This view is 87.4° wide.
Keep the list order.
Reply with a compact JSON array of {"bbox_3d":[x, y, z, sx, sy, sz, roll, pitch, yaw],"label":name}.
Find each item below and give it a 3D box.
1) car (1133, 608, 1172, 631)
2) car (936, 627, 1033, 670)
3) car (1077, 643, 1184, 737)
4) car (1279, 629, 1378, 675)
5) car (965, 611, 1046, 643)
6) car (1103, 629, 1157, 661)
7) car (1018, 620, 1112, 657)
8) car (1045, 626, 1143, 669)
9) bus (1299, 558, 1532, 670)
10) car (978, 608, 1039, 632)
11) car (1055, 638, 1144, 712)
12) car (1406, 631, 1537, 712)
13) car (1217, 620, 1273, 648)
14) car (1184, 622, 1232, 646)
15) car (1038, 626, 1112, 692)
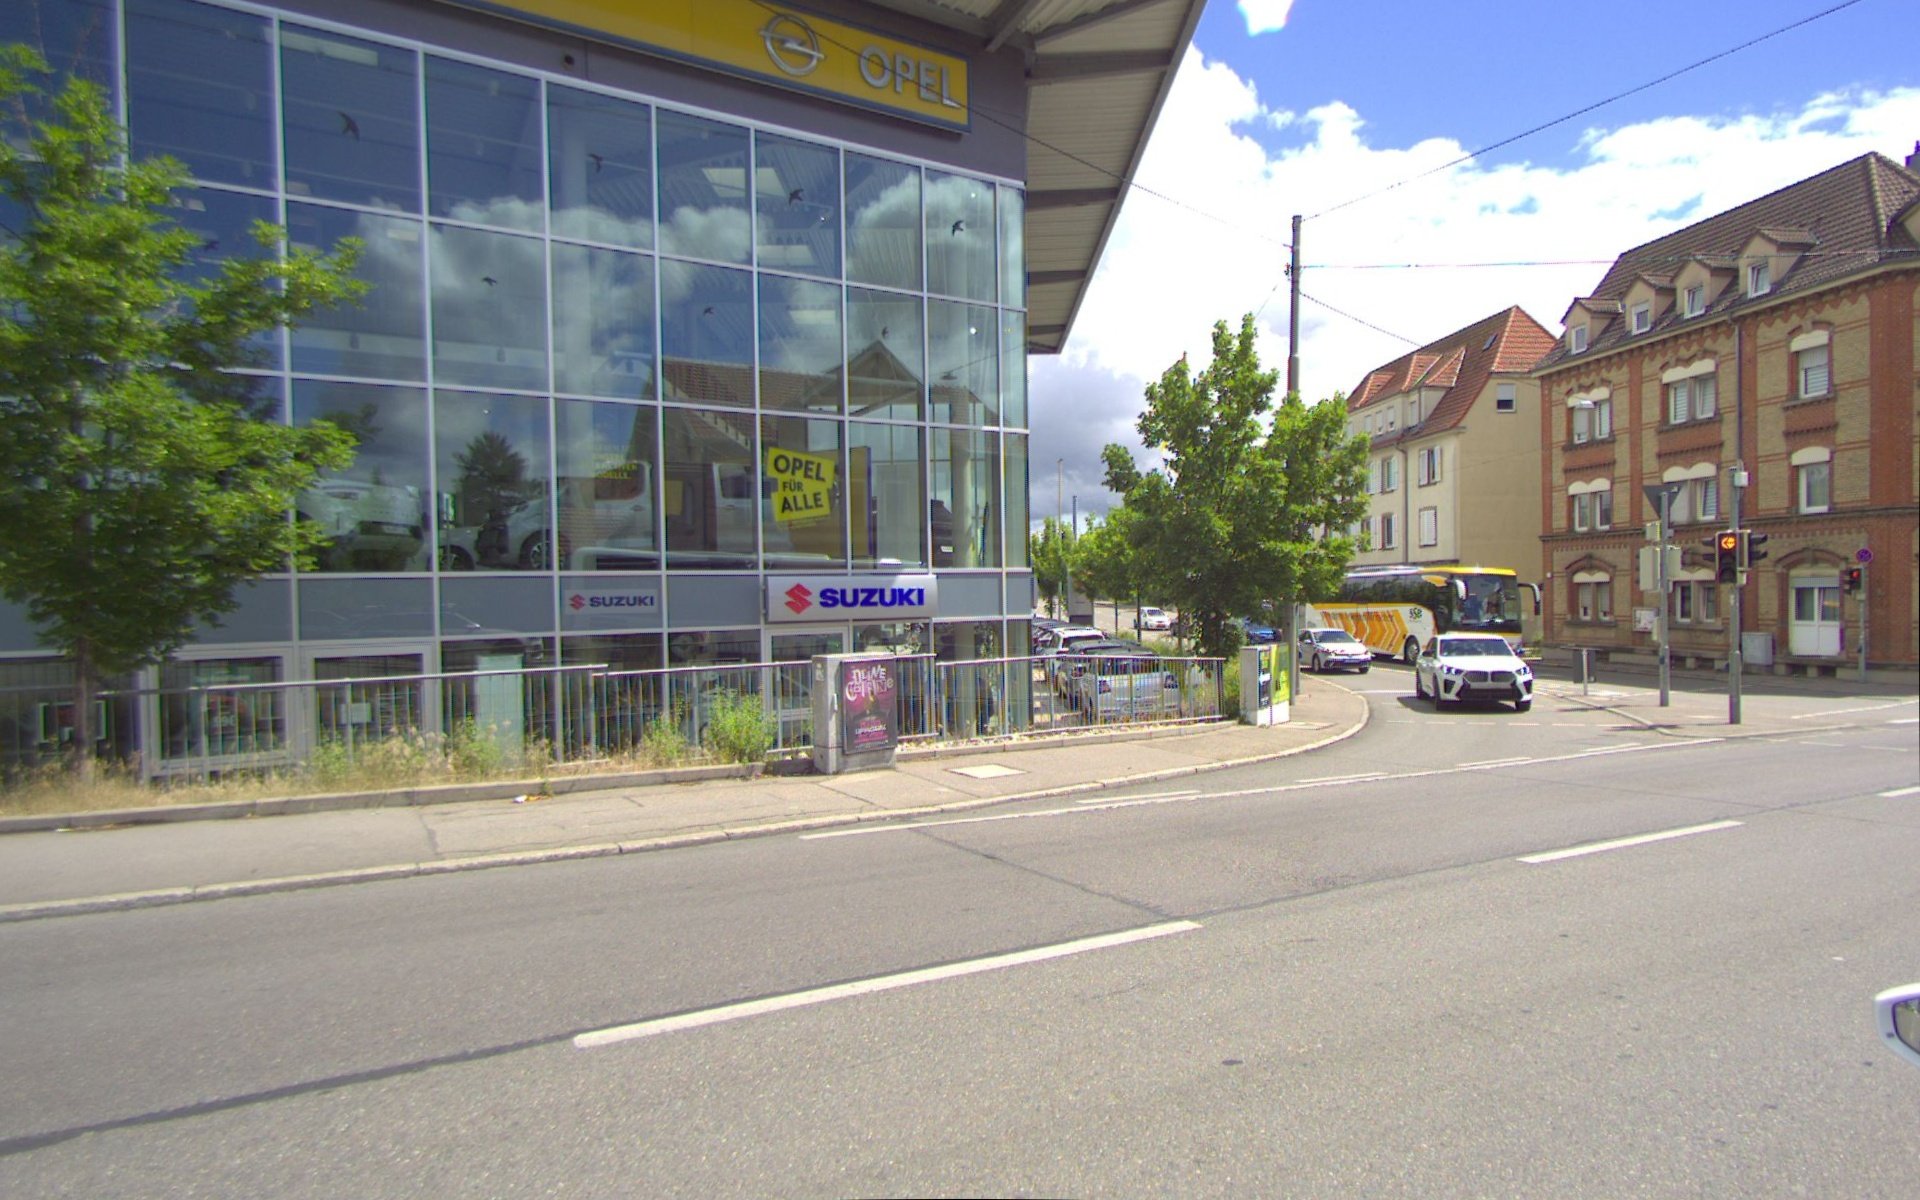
[{"bbox_3d":[13.635,1.395,71.461,1.874,1.574,3.999,1,-1,-2],"label":"car"},{"bbox_3d":[0.848,1.769,36.974,3.432,1.467,1.799,-1,0,-3],"label":"car"},{"bbox_3d":[3.365,1.748,20.335,1.648,1.582,3.365,-1,0,1],"label":"car"},{"bbox_3d":[12.371,1.706,33.950,1.848,1.437,3.620,1,-1,-3],"label":"car"},{"bbox_3d":[2.355,1.413,52.785,3.930,1.574,1.804,1,-1,-12],"label":"car"},{"bbox_3d":[8.179,2.156,48.664,1.766,1.467,3.498,1,-1,-5],"label":"car"},{"bbox_3d":[4.683,1.733,45.145,3.925,1.574,1.806,1,-1,-7],"label":"car"},{"bbox_3d":[4.966,1.745,37.483,3.430,1.497,1.800,1,-1,1],"label":"car"},{"bbox_3d":[17.127,0.536,39.320,2.718,3.670,12.256,1,-1,-4],"label":"bus"},{"bbox_3d":[3.220,1.347,67.404,3.922,1.574,1.807,1,-1,-1],"label":"car"},{"bbox_3d":[3.338,1.774,24.603,1.584,1.547,3.499,-1,0,-2],"label":"car"},{"bbox_3d":[11.314,1.512,22.507,1.797,1.572,4.308,0,-1,16],"label":"car"},{"bbox_3d":[15.237,1.811,53.944,1.717,1.428,3.999,1,-1,-3],"label":"car"},{"bbox_3d":[15.559,2.138,63.169,1.874,1.428,3.999,1,-1,-2],"label":"car"},{"bbox_3d":[3.276,1.662,29.171,1.620,1.703,3.499,-1,0,-2],"label":"car"}]
